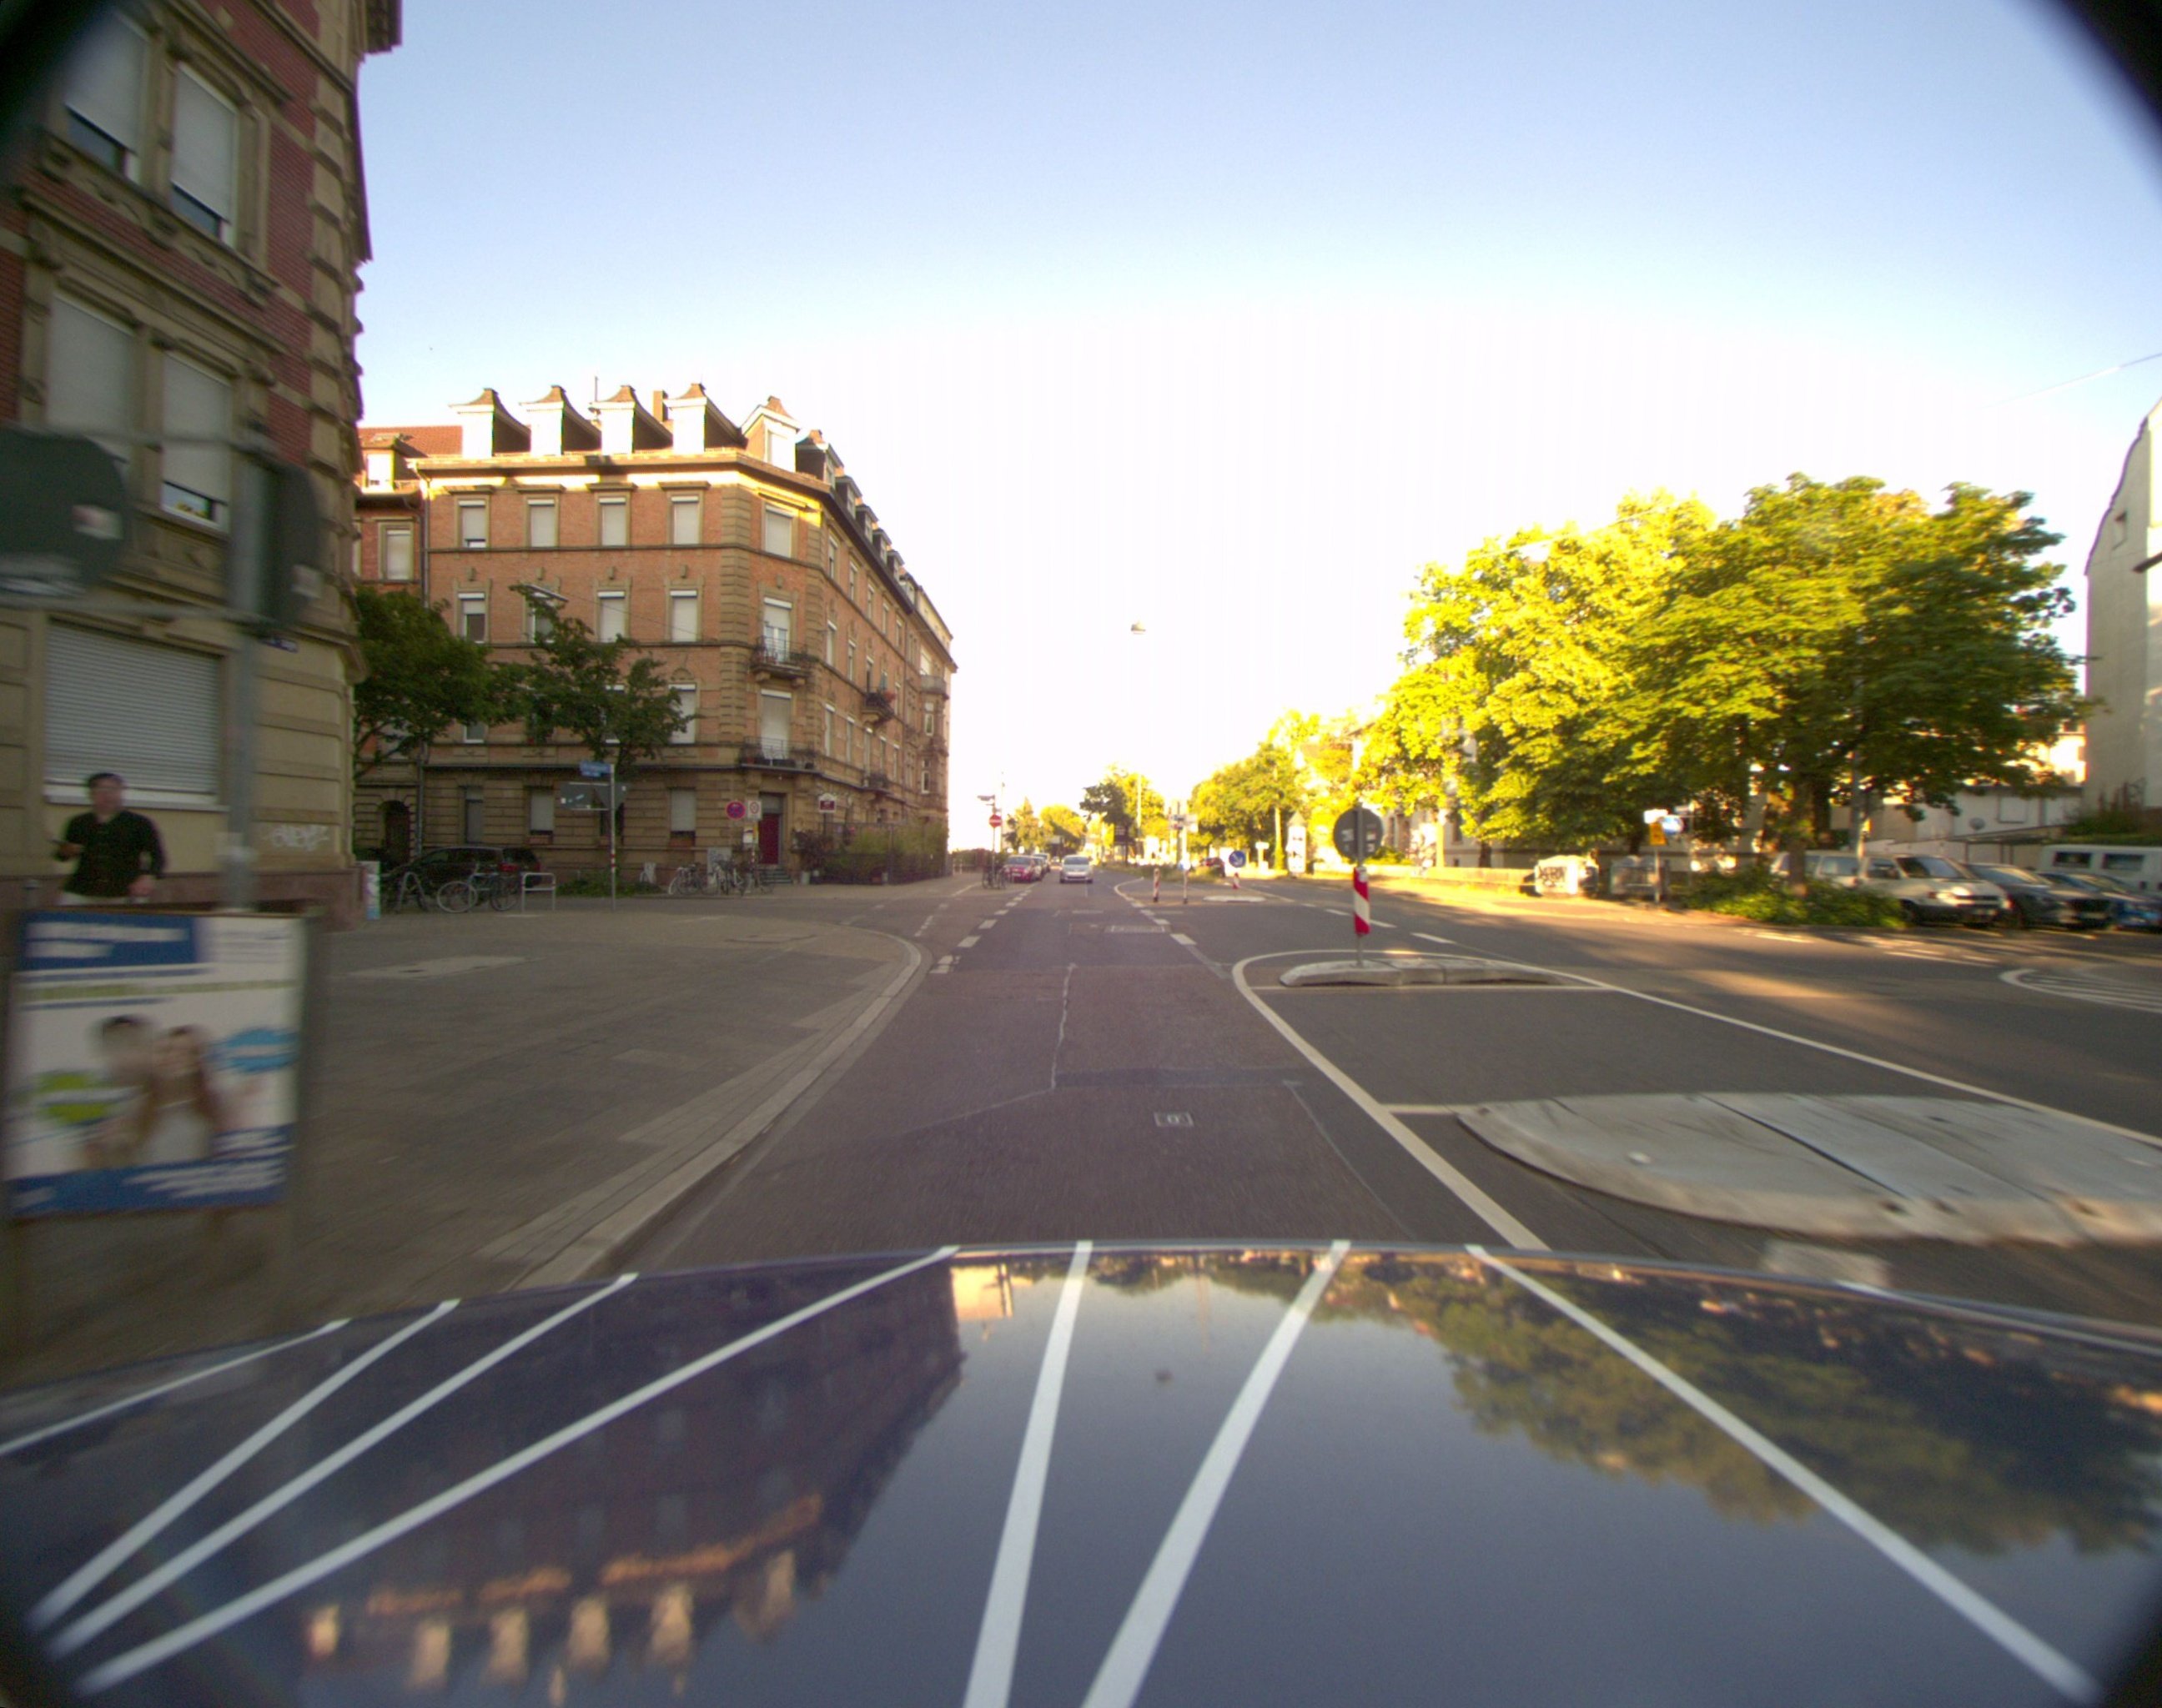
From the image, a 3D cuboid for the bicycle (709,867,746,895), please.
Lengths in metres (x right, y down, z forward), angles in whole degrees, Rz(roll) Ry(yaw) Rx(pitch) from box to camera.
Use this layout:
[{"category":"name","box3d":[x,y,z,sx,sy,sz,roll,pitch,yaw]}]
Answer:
[{"category":"bicycle","box3d":[-11.604,0.885,24.984,0.295,0.812,1.498,-1,2,9]}]

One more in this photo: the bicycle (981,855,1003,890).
[{"category":"bicycle","box3d":[-3.640,0.733,31.258,0.567,1.268,2.264,4,2,-1]}]

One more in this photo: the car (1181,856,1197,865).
[{"category":"car","box3d":[16.748,1.050,117.974,1.778,1.266,4.007,4,0,0]}]

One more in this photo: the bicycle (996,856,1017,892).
[{"category":"bicycle","box3d":[-3.062,0.795,31.273,0.567,1.292,2.264,4,2,-1]}]

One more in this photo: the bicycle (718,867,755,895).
[{"category":"bicycle","box3d":[-11.290,0.883,24.945,0.295,0.812,1.498,-1,2,9]}]

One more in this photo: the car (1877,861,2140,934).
[{"category":"car","box3d":[24.012,1.055,19.956,1.999,1.652,3.999,-1,0,0]}]

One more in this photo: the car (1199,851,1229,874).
[{"category":"car","box3d":[11.022,0.696,63.243,1.881,1.696,4.568,3,1,3]}]

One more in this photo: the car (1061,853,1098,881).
[{"category":"car","box3d":[-0.134,0.700,41.966,1.895,1.455,3.965,1,0,-1]}]

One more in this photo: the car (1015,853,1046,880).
[{"category":"car","box3d":[-3.004,0.717,45.883,1.681,1.418,3.675,4,0,-2]}]

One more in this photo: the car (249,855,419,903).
[{"category":"car","box3d":[-24.898,0.812,25.416,3.995,1.514,1.849,0,1,4]}]

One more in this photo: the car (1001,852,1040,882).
[{"category":"car","box3d":[-3.244,0.694,41.387,1.730,1.456,3.546,4,0,1]}]

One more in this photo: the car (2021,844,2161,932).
[{"category":"car","box3d":[29.205,0.860,20.270,2.219,2.275,5.100,0,0,6]}]

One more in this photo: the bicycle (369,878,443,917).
[{"category":"bicycle","box3d":[-14.786,0.958,16.688,0.295,0.812,1.498,-2,-3,0]}]

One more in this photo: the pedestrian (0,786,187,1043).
[{"category":"pedestrian","box3d":[-7.458,0.414,5.741,0.749,1.768,0.829,3,1,-41]}]

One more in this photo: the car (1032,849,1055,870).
[{"category":"car","box3d":[-3.744,0.509,77.171,1.892,1.907,5.179,4,0,1]}]

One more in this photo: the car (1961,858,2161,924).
[{"category":"car","box3d":[26.655,0.886,20.139,1.999,1.531,3.999,-1,0,0]}]

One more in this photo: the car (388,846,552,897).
[{"category":"car","box3d":[-20.035,0.549,25.031,3.995,1.597,1.849,0,1,4]}]

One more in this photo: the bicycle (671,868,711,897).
[{"category":"bicycle","box3d":[-12.775,0.915,24.912,0.295,0.812,1.498,-1,2,9]}]

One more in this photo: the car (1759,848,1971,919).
[{"category":"car","box3d":[21.752,0.743,21.353,1.823,1.784,3.999,-1,0,0]}]

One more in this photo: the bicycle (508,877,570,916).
[{"category":"bicycle","box3d":[-11.956,0.937,16.803,0.292,0.812,1.498,-2,-3,0]}]

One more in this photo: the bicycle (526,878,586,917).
[{"category":"bicycle","box3d":[-11.589,0.961,16.823,0.292,0.812,1.498,-2,-3,0]}]

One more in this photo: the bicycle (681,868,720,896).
[{"category":"bicycle","box3d":[-12.452,0.906,24.885,0.295,0.812,1.498,-1,2,9]}]

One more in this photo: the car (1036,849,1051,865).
[{"category":"car","box3d":[-4.819,0.371,98.183,1.778,1.818,4.555,3,0,0]}]

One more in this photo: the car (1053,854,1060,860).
[{"category":"car","box3d":[-6.607,0.762,206.438,1.948,1.514,4.162,1,0,-2]}]

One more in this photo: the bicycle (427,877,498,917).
[{"category":"bicycle","box3d":[-13.254,0.917,16.337,0.295,0.812,1.498,-2,-3,0]}]

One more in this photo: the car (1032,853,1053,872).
[{"category":"car","box3d":[-3.307,0.723,65.273,1.705,1.479,3.891,4,0,-3]}]

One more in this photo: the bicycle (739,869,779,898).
[{"category":"bicycle","box3d":[-10.353,0.929,24.464,0.295,0.812,1.735,-1,2,9]}]

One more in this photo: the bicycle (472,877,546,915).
[{"category":"bicycle","box3d":[-12.784,0.936,17.029,0.295,0.812,1.499,-2,-3,12]}]
